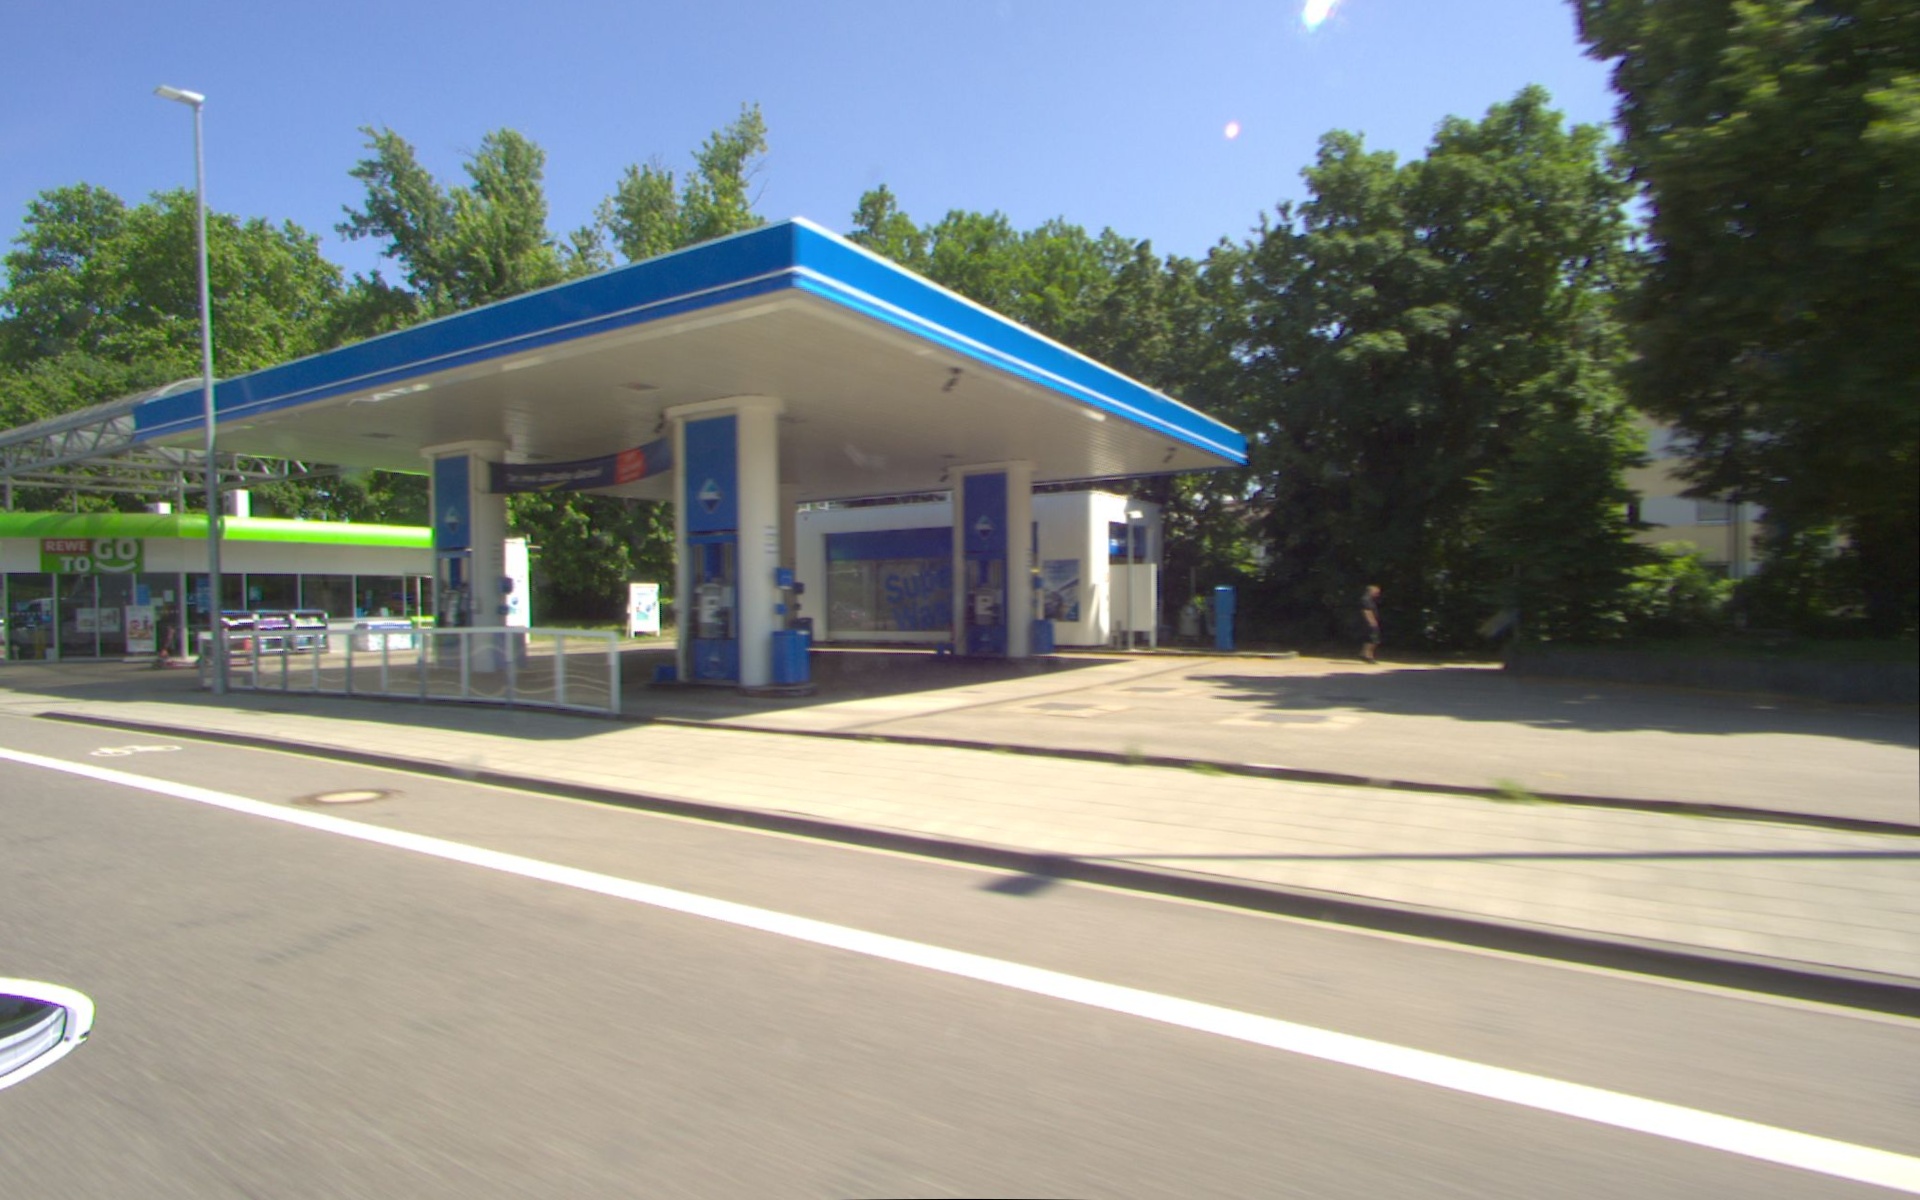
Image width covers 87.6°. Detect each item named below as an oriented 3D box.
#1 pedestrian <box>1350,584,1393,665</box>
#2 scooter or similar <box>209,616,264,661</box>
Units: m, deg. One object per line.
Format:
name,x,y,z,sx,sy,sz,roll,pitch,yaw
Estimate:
pedestrian,9.901,0.573,24.089,0.825,1.914,0.623,1,1,32
scooter or similar,-19.624,1.039,27.167,0.378,1.192,1.132,0,0,33
